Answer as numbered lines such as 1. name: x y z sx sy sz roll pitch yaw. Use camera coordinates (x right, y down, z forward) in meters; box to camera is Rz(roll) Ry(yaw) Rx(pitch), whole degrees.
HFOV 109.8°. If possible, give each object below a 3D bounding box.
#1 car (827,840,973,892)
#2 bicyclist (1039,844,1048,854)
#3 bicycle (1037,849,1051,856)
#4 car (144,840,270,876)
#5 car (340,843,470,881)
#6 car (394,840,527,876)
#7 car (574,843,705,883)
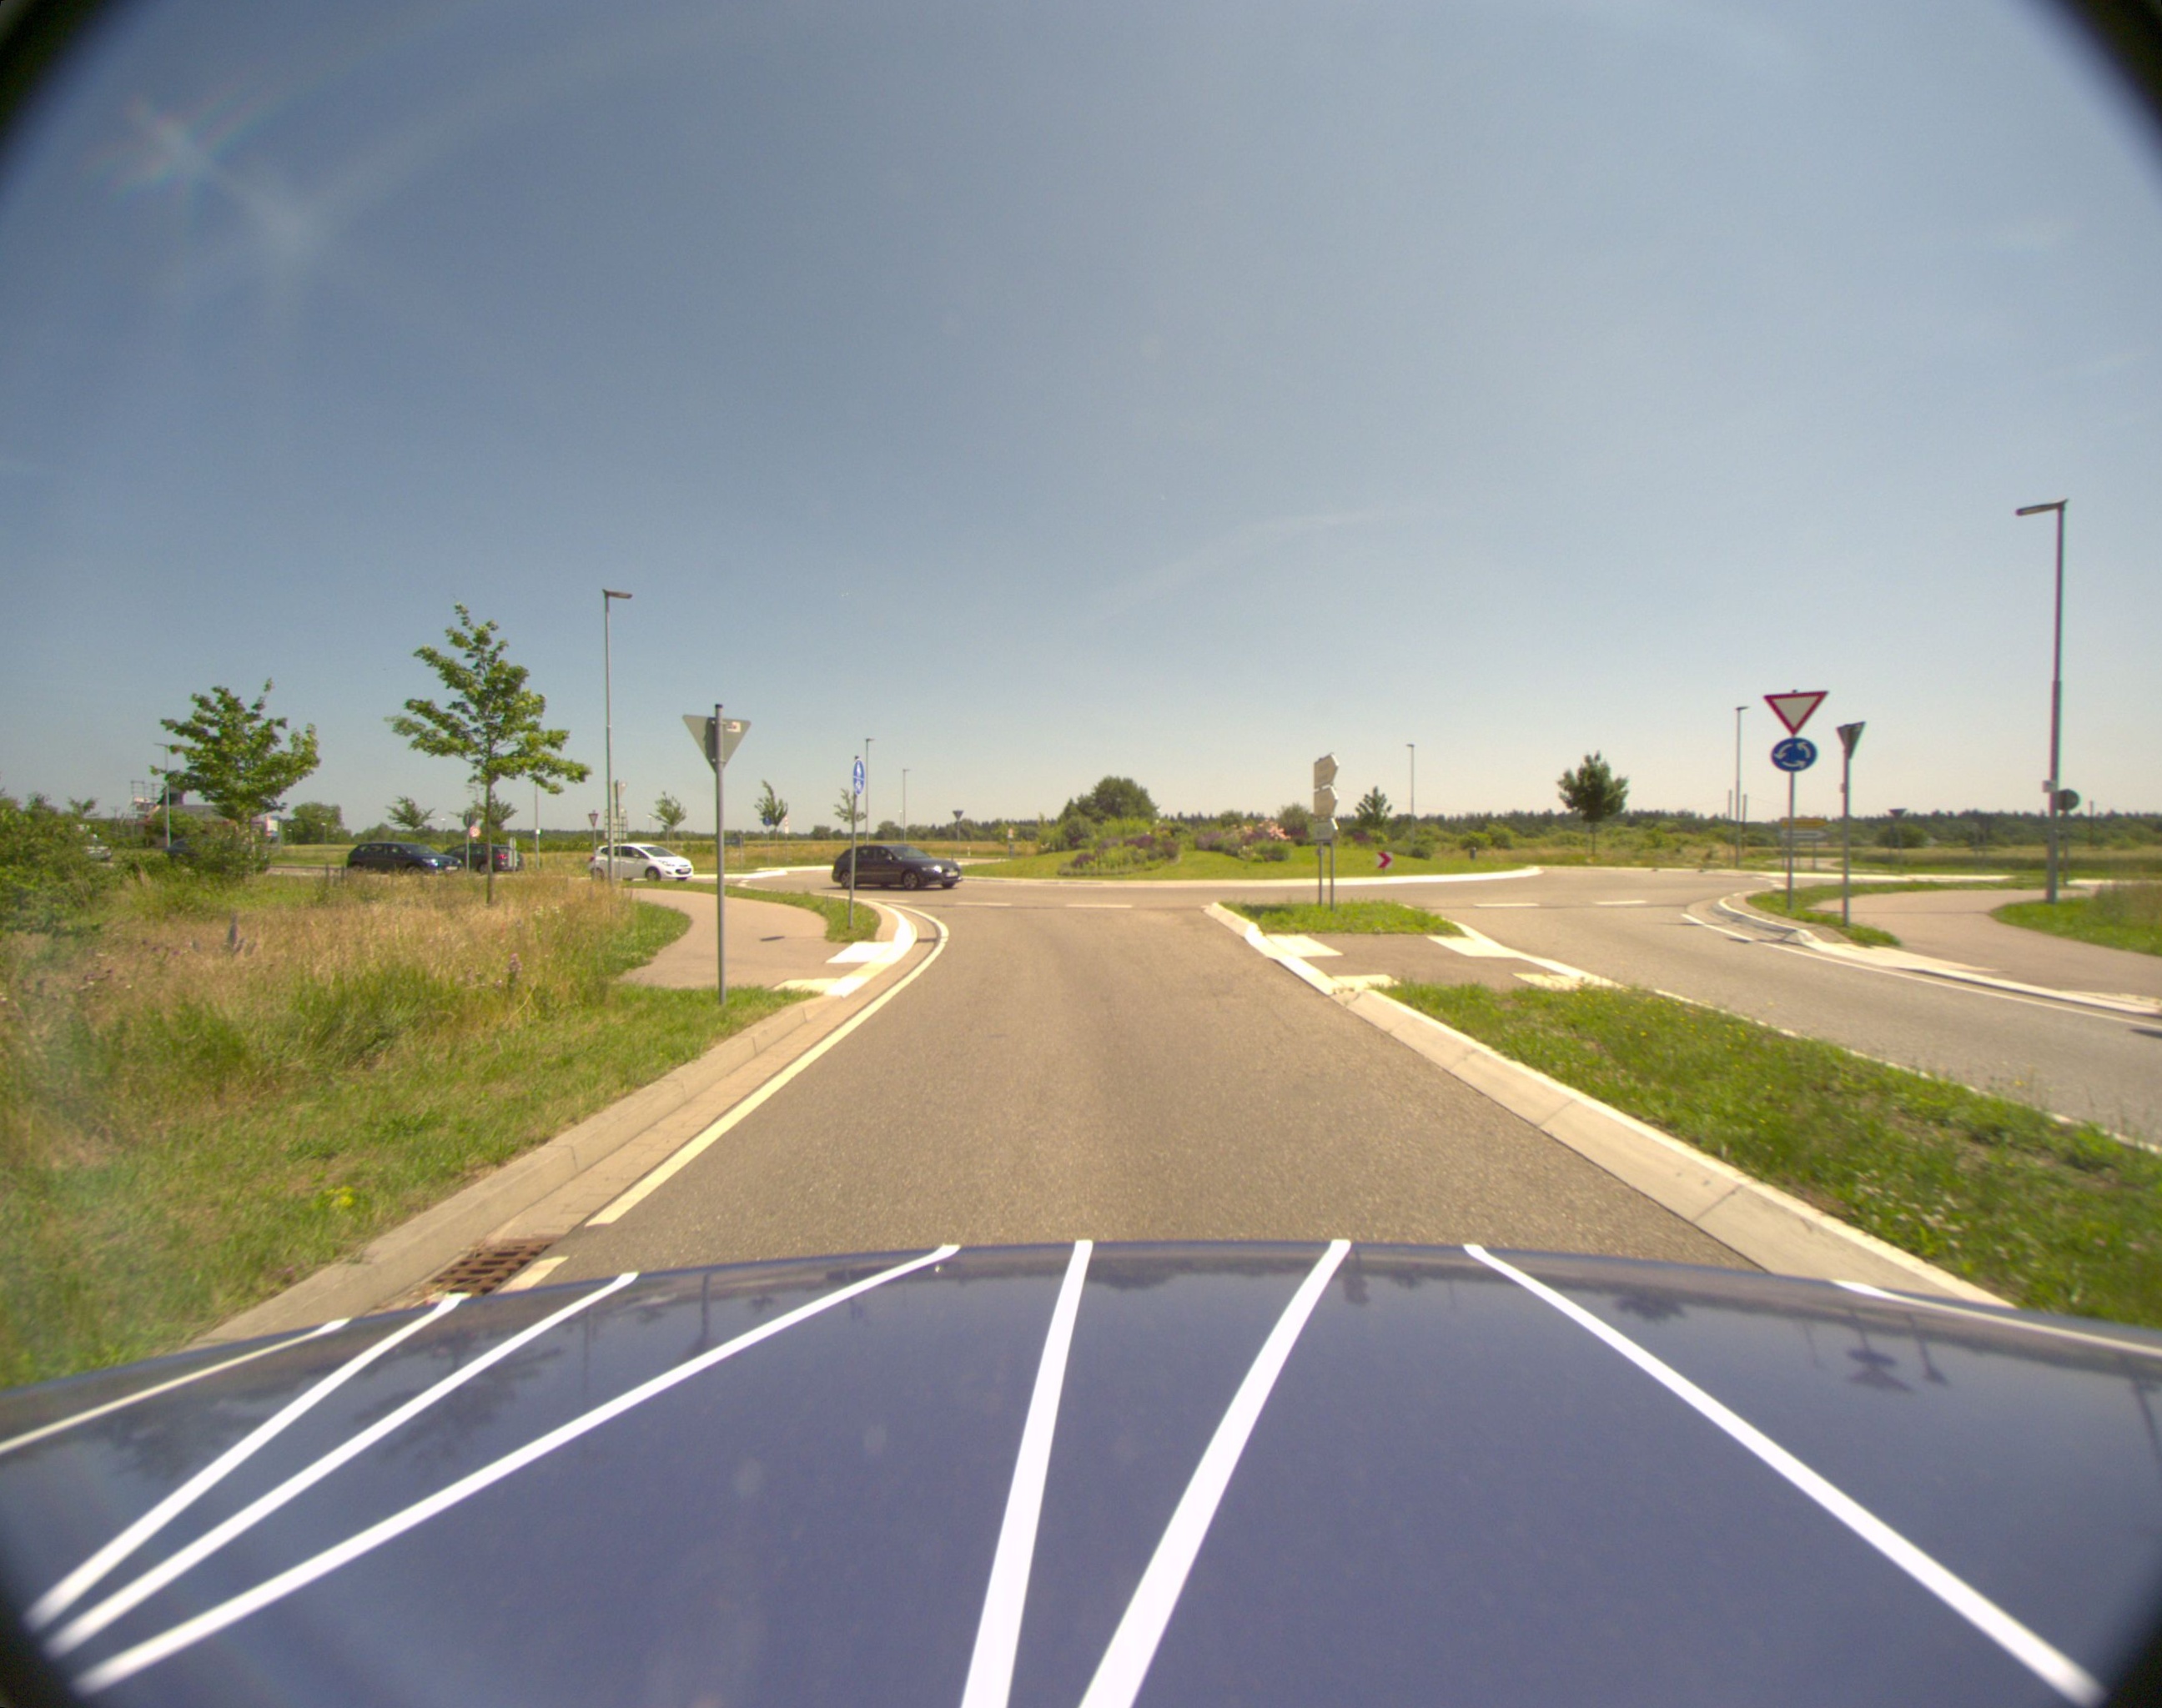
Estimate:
1. car: -5.834 0.322 24.412 4.507 1.427 1.872 2 4 31
2. bicyclist: -3.964 -0.502 79.693 0.722 1.073 0.580 1 2 38
3. bicycle: -3.895 -0.130 79.648 1.466 0.725 0.580 1 1 39
4. car: -40.284 0.148 35.035 4.716 1.553 1.871 0 2 15
5. car: -29.047 0.325 32.734 4.147 1.553 1.722 0 2 4
6. car: -31.614 0.173 38.881 4.889 1.640 1.951 -2 1 -9
7. car: -18.192 0.332 31.366 4.513 1.553 1.870 0 2 11
